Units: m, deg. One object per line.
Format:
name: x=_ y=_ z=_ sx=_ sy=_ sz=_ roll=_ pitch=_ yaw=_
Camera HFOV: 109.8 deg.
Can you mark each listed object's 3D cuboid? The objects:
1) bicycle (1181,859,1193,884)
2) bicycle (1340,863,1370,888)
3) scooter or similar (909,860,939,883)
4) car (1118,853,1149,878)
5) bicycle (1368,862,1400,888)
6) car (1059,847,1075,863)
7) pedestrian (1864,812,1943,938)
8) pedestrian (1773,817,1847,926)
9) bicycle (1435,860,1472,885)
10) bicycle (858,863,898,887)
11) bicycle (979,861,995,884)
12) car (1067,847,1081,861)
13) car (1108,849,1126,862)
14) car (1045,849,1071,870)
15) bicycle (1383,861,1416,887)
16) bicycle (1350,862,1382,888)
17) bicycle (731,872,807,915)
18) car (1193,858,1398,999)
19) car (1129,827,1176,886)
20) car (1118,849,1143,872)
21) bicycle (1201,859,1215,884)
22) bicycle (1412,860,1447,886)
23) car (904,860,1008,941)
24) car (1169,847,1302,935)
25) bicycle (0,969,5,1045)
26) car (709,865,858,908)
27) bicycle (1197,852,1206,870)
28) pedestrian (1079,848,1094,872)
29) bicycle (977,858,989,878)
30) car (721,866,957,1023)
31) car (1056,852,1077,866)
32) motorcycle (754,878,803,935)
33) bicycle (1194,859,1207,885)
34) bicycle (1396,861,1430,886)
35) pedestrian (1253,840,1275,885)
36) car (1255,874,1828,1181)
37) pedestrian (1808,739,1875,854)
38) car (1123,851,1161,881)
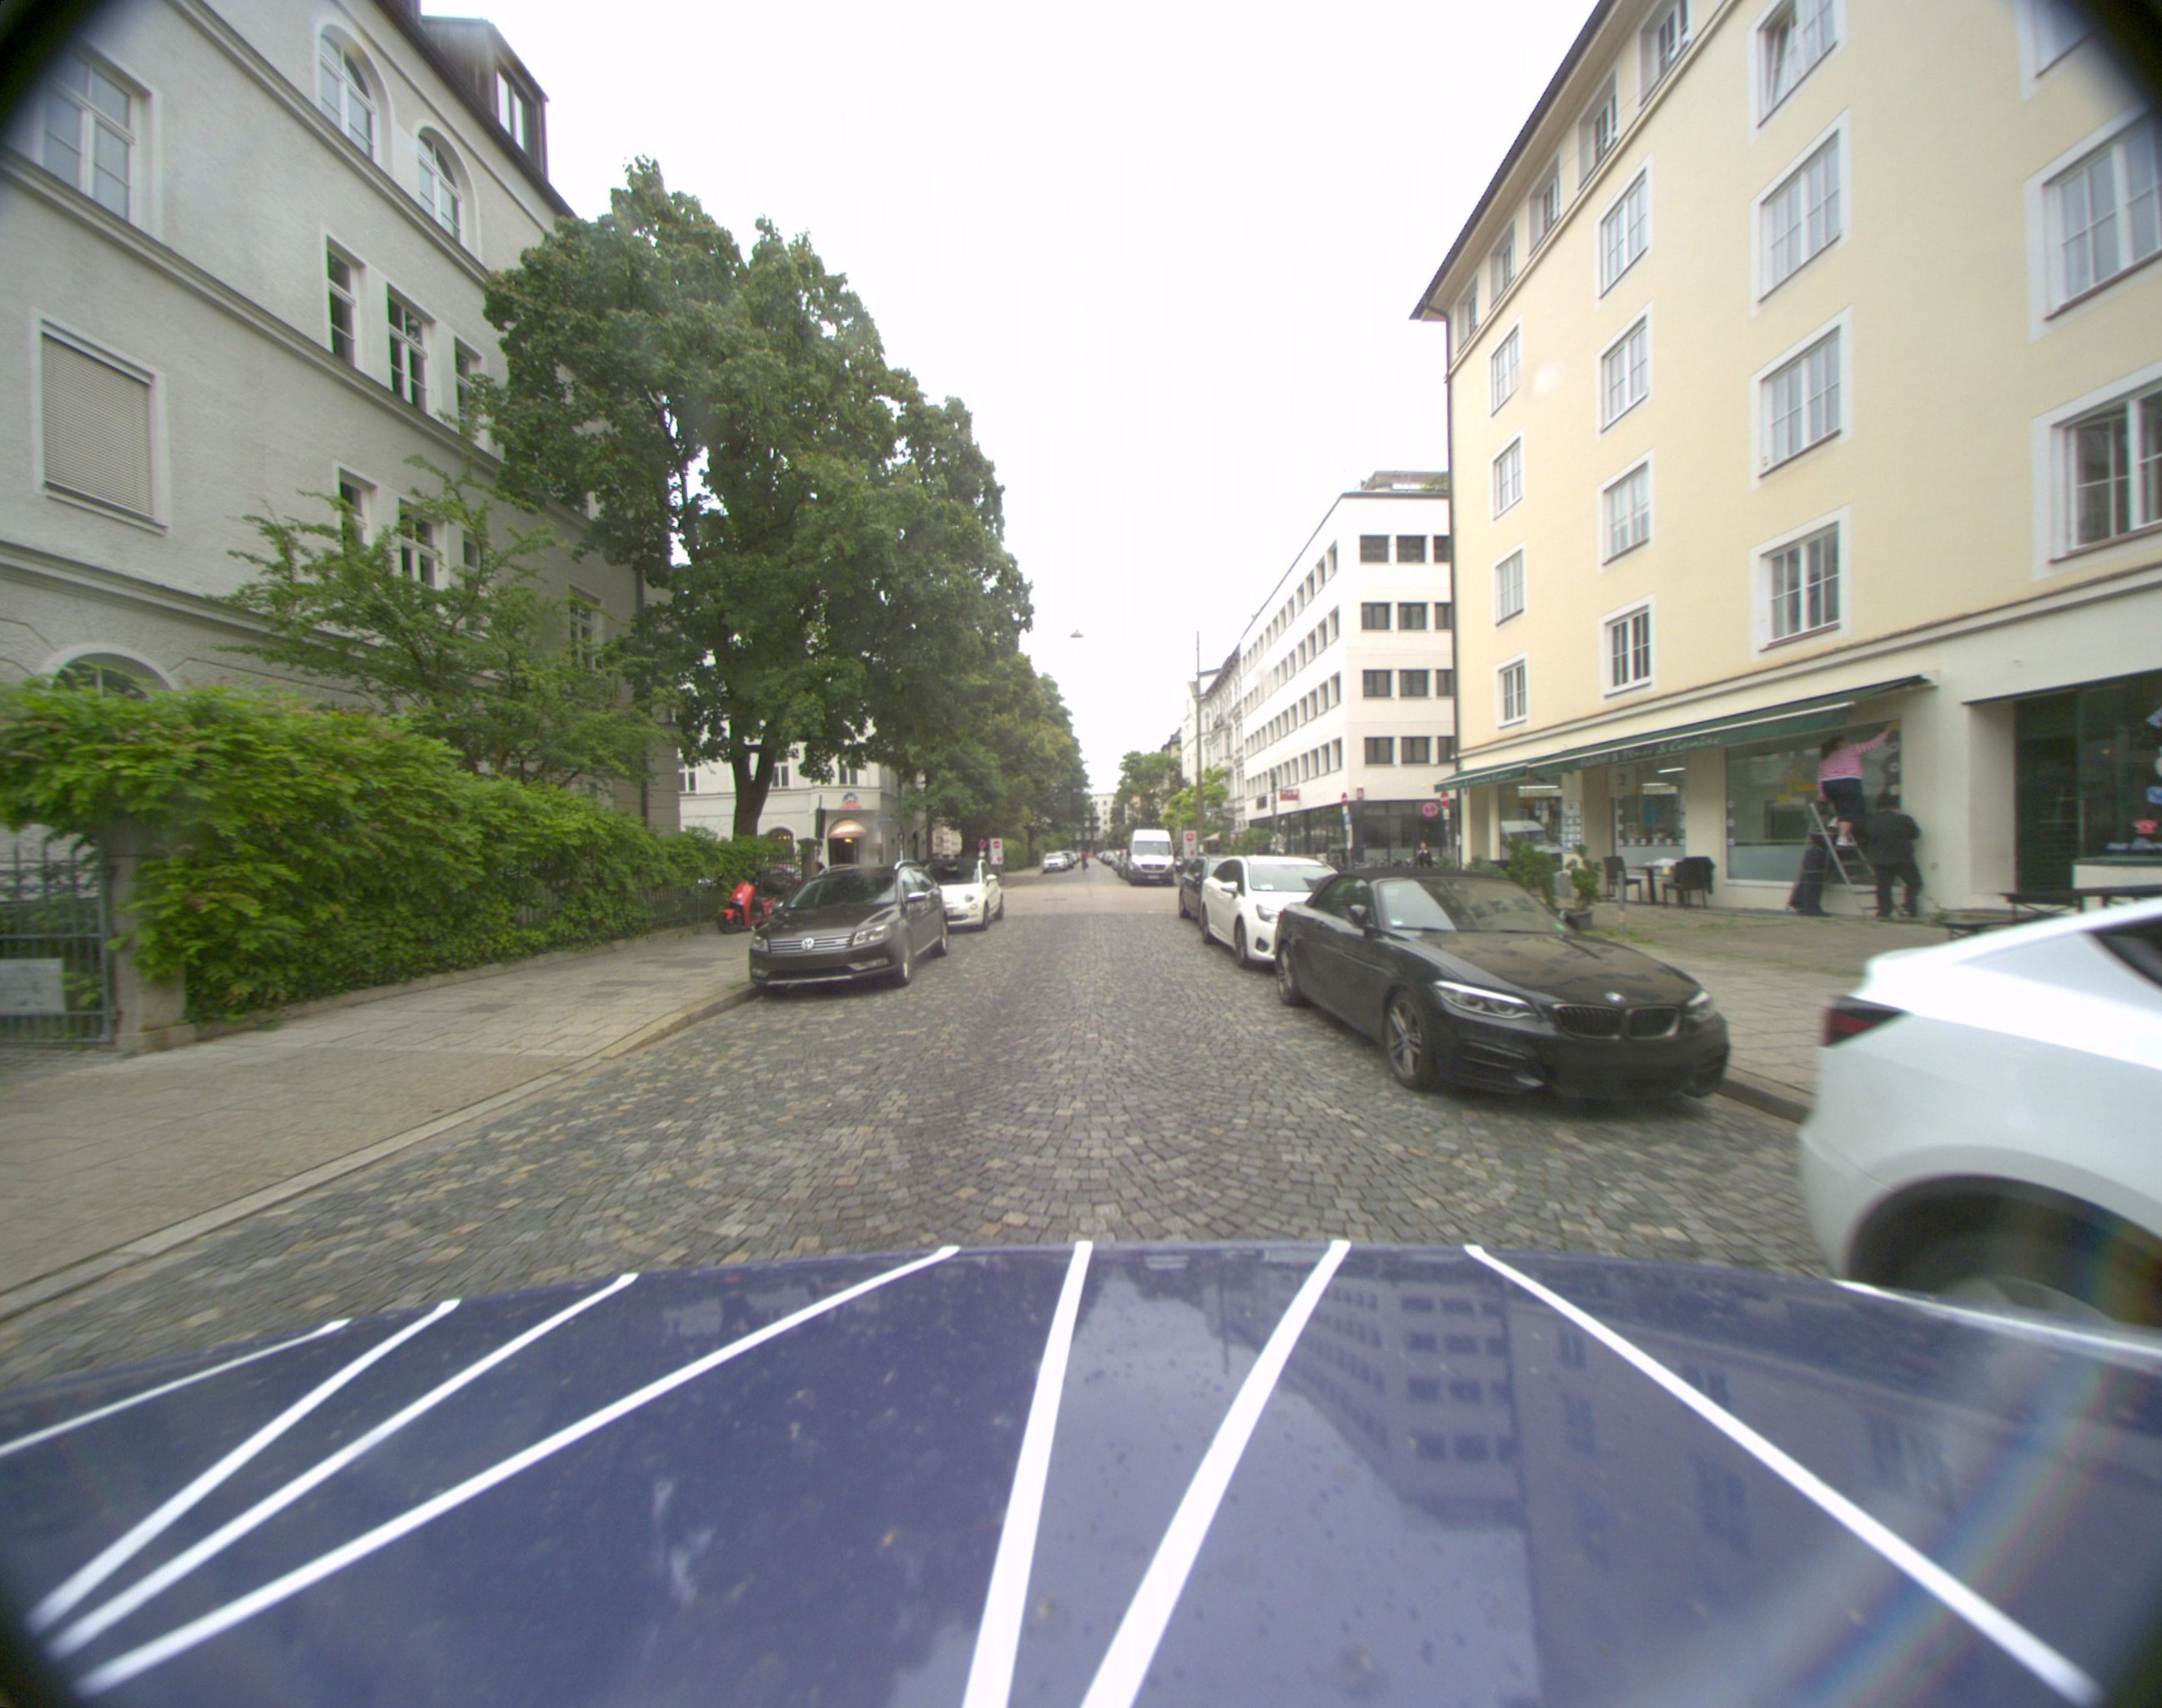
bicycle: x=4.959 y=0.808 z=35.619 sx=0.286 sy=1.085 sz=1.815 roll=-2 pitch=1 yaw=-1
bicycle: x=11.085 y=0.855 z=30.787 sx=0.398 sy=0.963 sz=1.893 roll=-2 pitch=1 yaw=-5
scooter or similar: x=-8.332 y=0.911 z=40.265 sx=1.604 sy=1.166 sz=0.405 roll=0 pitch=2 yaw=24
car: x=3.263 y=0.665 z=47.543 sx=1.730 sy=1.456 sz=4.473 roll=1 pitch=0 yaw=2
bicycle: x=12.319 y=0.827 z=30.924 sx=0.398 sy=0.963 sz=1.893 roll=-2 pitch=1 yaw=-5
car: x=-1.670 y=0.131 z=91.295 sx=1.818 sy=1.809 sz=4.808 roll=-3 pitch=1 yaw=0
pedestrian: x=11.317 y=0.280 z=10.465 sx=0.462 sy=1.680 sz=0.574 roll=-2 pitch=1 yaw=1
pedestrian: x=11.344 y=0.258 z=11.837 sx=0.523 sy=1.633 sz=0.629 roll=-2 pitch=1 yaw=0
bicycle: x=15.323 y=0.742 z=31.300 sx=0.398 sy=0.963 sz=1.893 roll=-2 pitch=1 yaw=-5
bicycle: x=-9.456 y=0.975 z=35.409 sx=1.605 sy=1.063 sz=0.738 roll=0 pitch=4 yaw=4
bicycle: x=-4.815 y=0.944 z=39.127 sx=0.389 sy=1.140 sz=1.590 roll=-1 pitch=1 yaw=8
car: x=-1.029 y=0.015 z=118.175 sx=1.998 sy=2.002 sz=4.000 roll=-2 pitch=1 yaw=2
car: x=4.285 y=0.184 z=90.746 sx=1.886 sy=1.411 sz=4.808 roll=-1 pitch=0 yaw=0
car: x=-1.938 y=0.456 z=65.872 sx=1.925 sy=1.676 sz=4.633 roll=-2 pitch=1 yaw=2
bicycle: x=12.985 y=0.803 z=30.997 sx=0.398 sy=0.963 sz=1.893 roll=-2 pitch=1 yaw=-5
bicycle: x=11.555 y=0.845 z=30.842 sx=0.398 sy=0.963 sz=1.893 roll=-2 pitch=1 yaw=-5
bicycle: x=-8.366 y=1.043 z=20.387 sx=1.841 sy=1.117 sz=0.563 roll=0 pitch=1 yaw=11
car: x=2.873 y=0.900 z=11.256 sx=1.778 sy=1.527 sz=4.540 roll=-2 pitch=1 yaw=1
car: x=3.322 y=0.071 z=36.415 sx=1.981 sy=2.559 sz=5.794 roll=0 pitch=1 yaw=3
car: x=3.768 y=0.472 z=57.945 sx=1.722 sy=1.713 sz=3.898 roll=0 pitch=1 yaw=1
bicycle: x=5.834 y=0.807 z=34.907 sx=0.286 sy=1.085 sz=1.815 roll=-2 pitch=1 yaw=0
bicycle: x=14.255 y=0.764 z=31.144 sx=0.398 sy=0.963 sz=1.893 roll=-2 pitch=1 yaw=-5
car: x=-2.616 y=0.924 z=16.673 sx=1.505 sy=1.462 sz=3.795 roll=-1 pitch=1 yaw=2
car: x=3.207 y=0.681 z=16.769 sx=1.857 sy=1.577 sz=4.747 roll=-2 pitch=1 yaw=-1
bicycle: x=-9.853 y=1.378 z=6.329 sx=0.261 sy=0.674 sz=1.037 roll=-1 pitch=0 yaw=2
car: x=-10.202 y=1.103 z=26.179 sx=4.475 sy=1.350 sz=1.761 roll=-1 pitch=0 yaw=8
bicycle: x=8.120 y=0.448 z=51.376 sx=0.361 sy=1.168 sz=1.911 roll=-2 pitch=1 yaw=3
pedestrian: x=0.413 y=0.417 z=57.841 sx=1.105 sy=1.768 sz=1.263 roll=-2 pitch=1 yaw=2
bicycle: x=-6.198 y=0.859 z=48.091 sx=0.428 sy=1.191 sz=1.730 roll=3 pitch=1 yaw=2
car: x=-2.965 y=1.001 z=10.436 sx=1.652 sy=1.414 sz=4.631 roll=-5 pitch=1 yaw=0
car: x=-1.539 y=0.501 z=77.920 sx=1.924 sy=1.290 sz=4.807 roll=-1 pitch=0 yaw=-3
motorcycle: x=-6.402 y=1.092 z=16.155 sx=0.363 sy=1.084 sz=1.404 roll=-2 pitch=1 yaw=3
bicycle: x=5.489 y=0.808 z=34.990 sx=0.256 sy=1.120 sz=1.806 roll=-2 pitch=1 yaw=0
bicycle: x=13.555 y=0.789 z=31.069 sx=0.398 sy=0.963 sz=1.893 roll=-2 pitch=1 yaw=-5
pedestrian: x=7.610 y=0.364 z=31.616 sx=0.615 sy=1.830 sz=0.813 roll=-2 pitch=1 yaw=-6
car: x=2.838 y=0.945 z=6.043 sx=1.778 sy=1.351 sz=4.390 roll=2 pitch=1 yaw=-1
pedestrian: x=11.159 y=-0.827 z=11.160 sx=0.478 sy=1.633 sz=0.497 roll=-2 pitch=1 yaw=5
car: x=3.305 y=0.629 z=41.964 sx=1.666 sy=1.474 sz=3.981 roll=-2 pitch=1 yaw=-1
